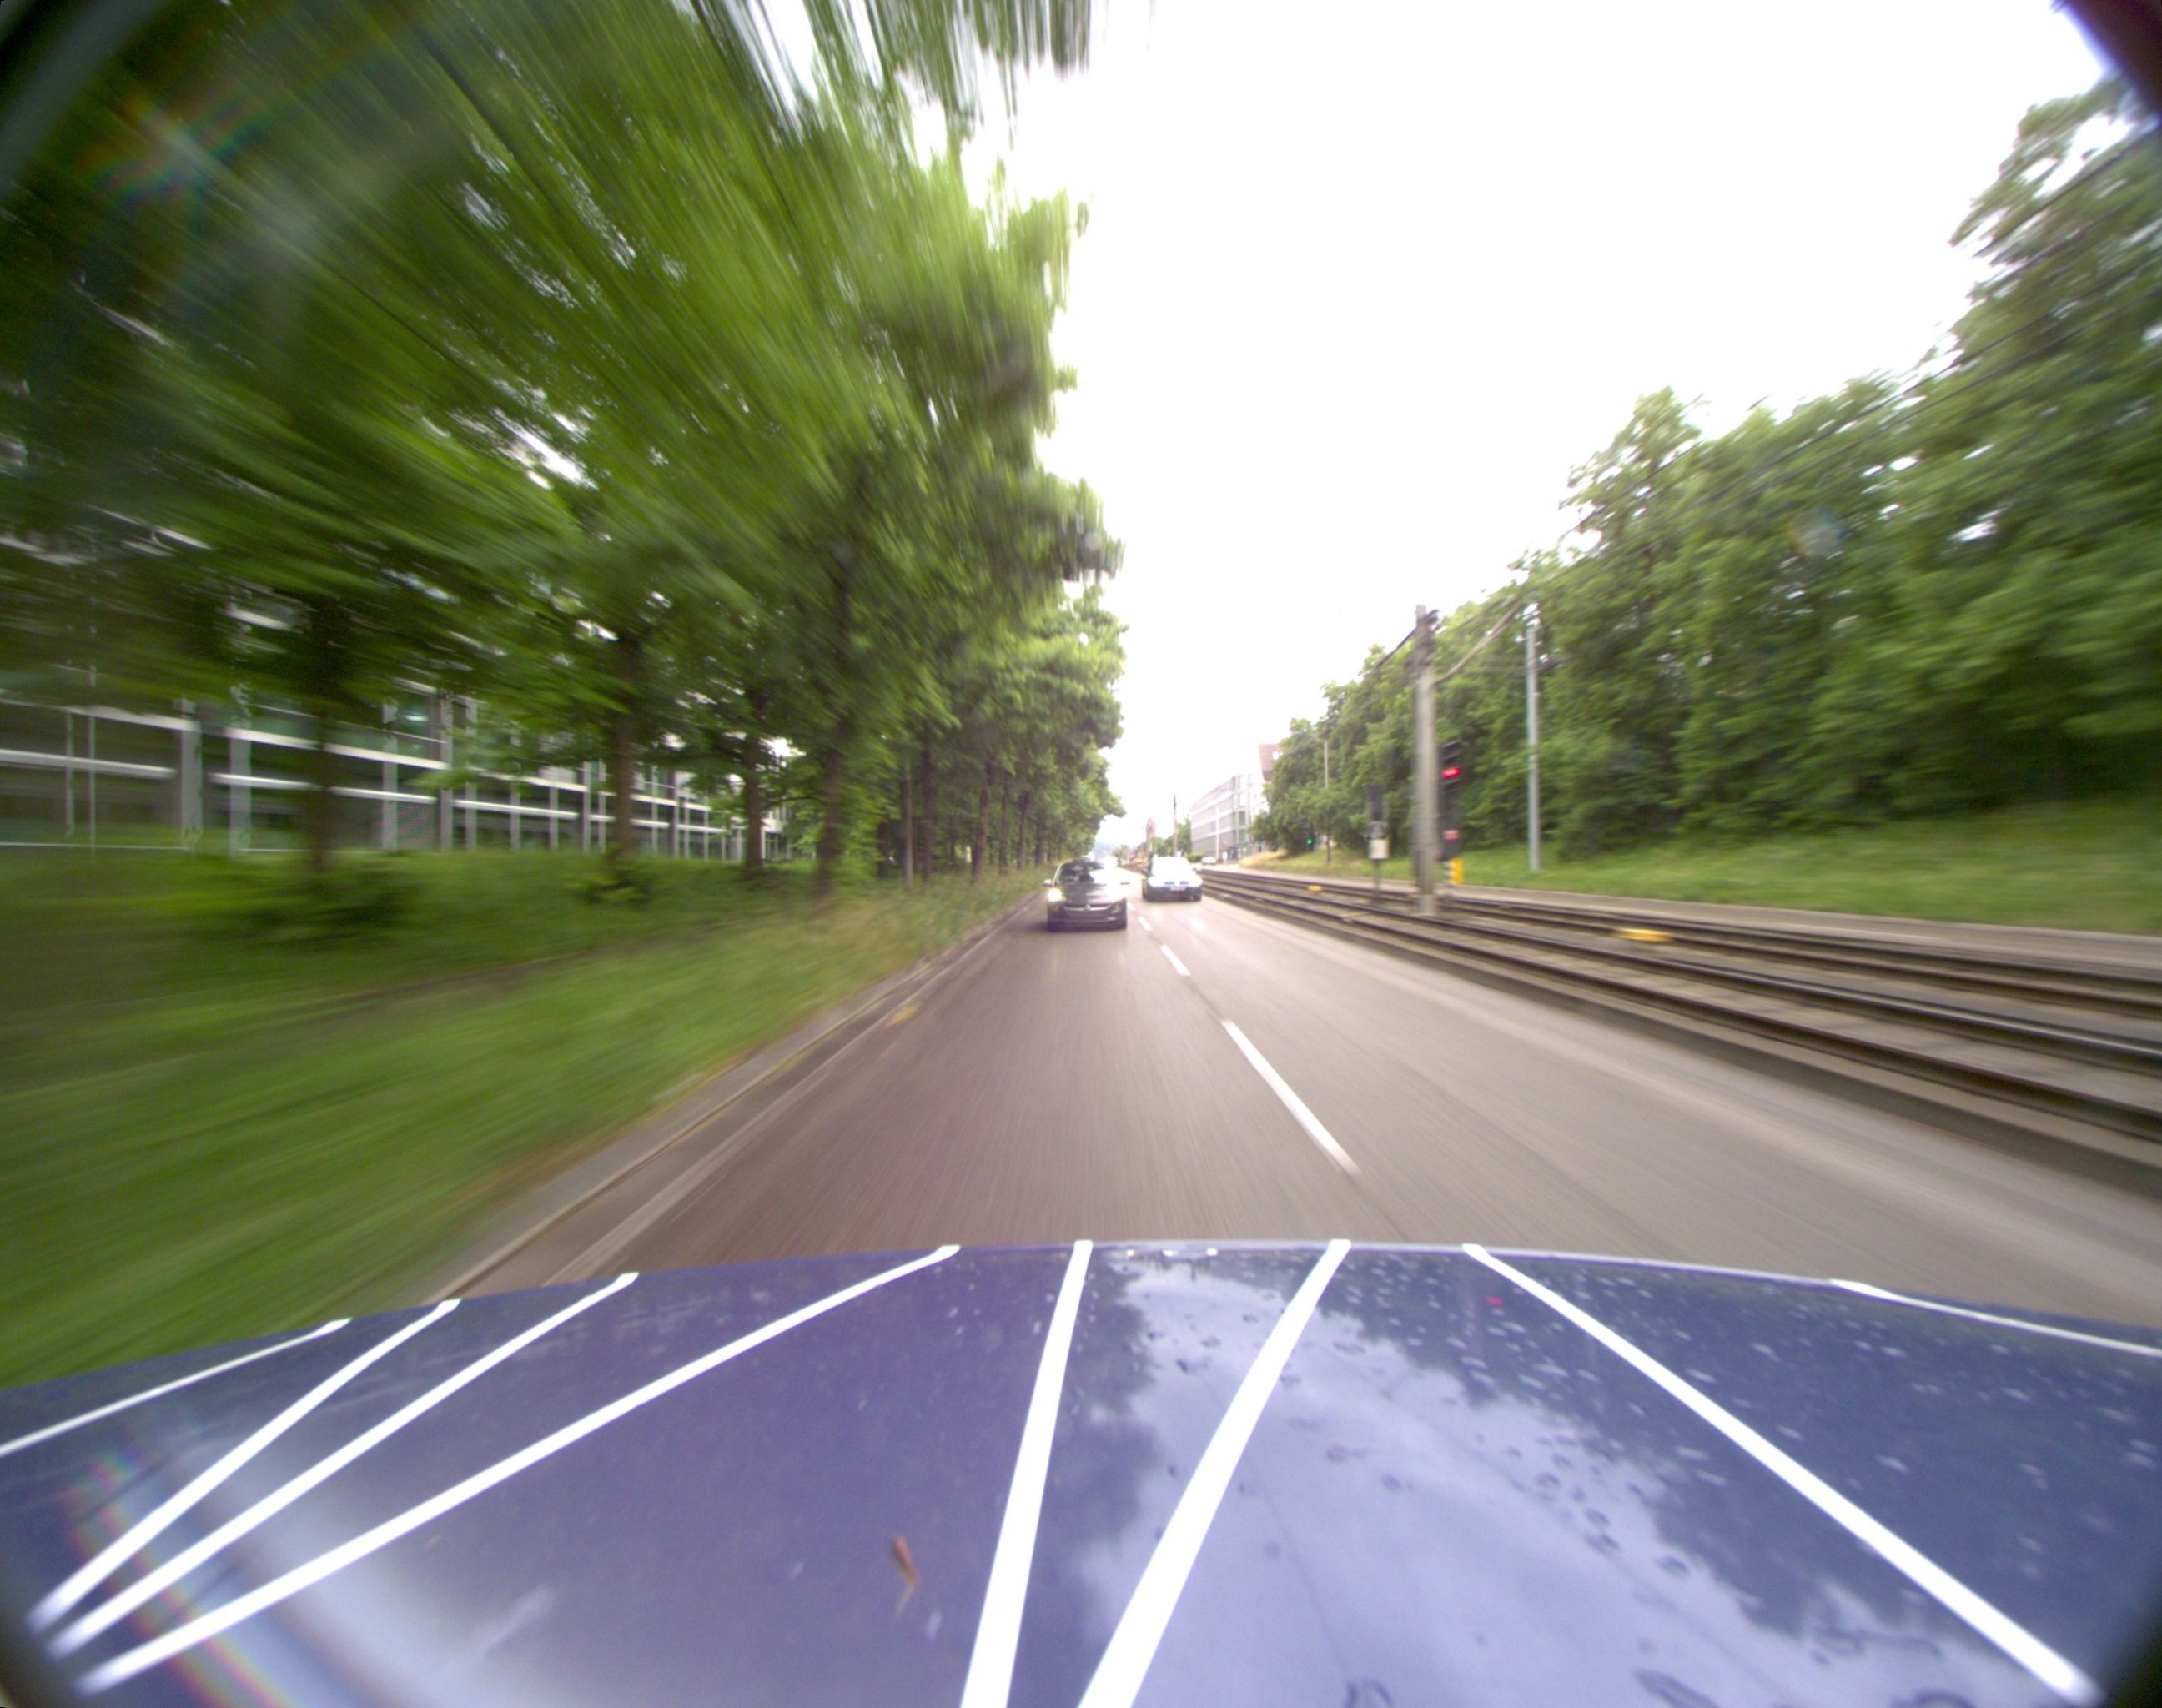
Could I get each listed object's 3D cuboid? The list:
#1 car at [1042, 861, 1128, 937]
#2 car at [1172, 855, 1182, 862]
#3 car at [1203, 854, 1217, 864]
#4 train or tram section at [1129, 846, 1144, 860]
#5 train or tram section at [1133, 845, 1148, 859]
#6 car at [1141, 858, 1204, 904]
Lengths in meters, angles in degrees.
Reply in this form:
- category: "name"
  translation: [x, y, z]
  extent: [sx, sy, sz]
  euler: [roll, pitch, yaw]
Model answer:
- category: "car"
  translation: [0.159, 0.936, 17.643]
  extent: [1.698, 1.439, 4.421]
  euler: [-3, 0, 2]
- category: "car"
  translation: [22.182, 1.017, 175.751]
  extent: [1.657, 1.520, 4.381]
  euler: [-1, 0, 1]
- category: "car"
  translation: [18.645, 0.731, 110.004]
  extent: [1.480, 1.427, 3.909]
  euler: [1, 0, 1]
- category: "train or tram section"
  translation: [16.698, -0.250, 231.321]
  extent: [2.975, 3.788, 19.098]
  euler: [-1, -1, 0]
- category: "train or tram section"
  translation: [16.531, -0.413, 211.978]
  extent: [2.975, 3.788, 19.523]
  euler: [-1, -1, 1]
- category: "car"
  translation: [3.112, 0.873, 26.433]
  extent: [1.770, 1.439, 3.833]
  euler: [-1, 0, 1]
